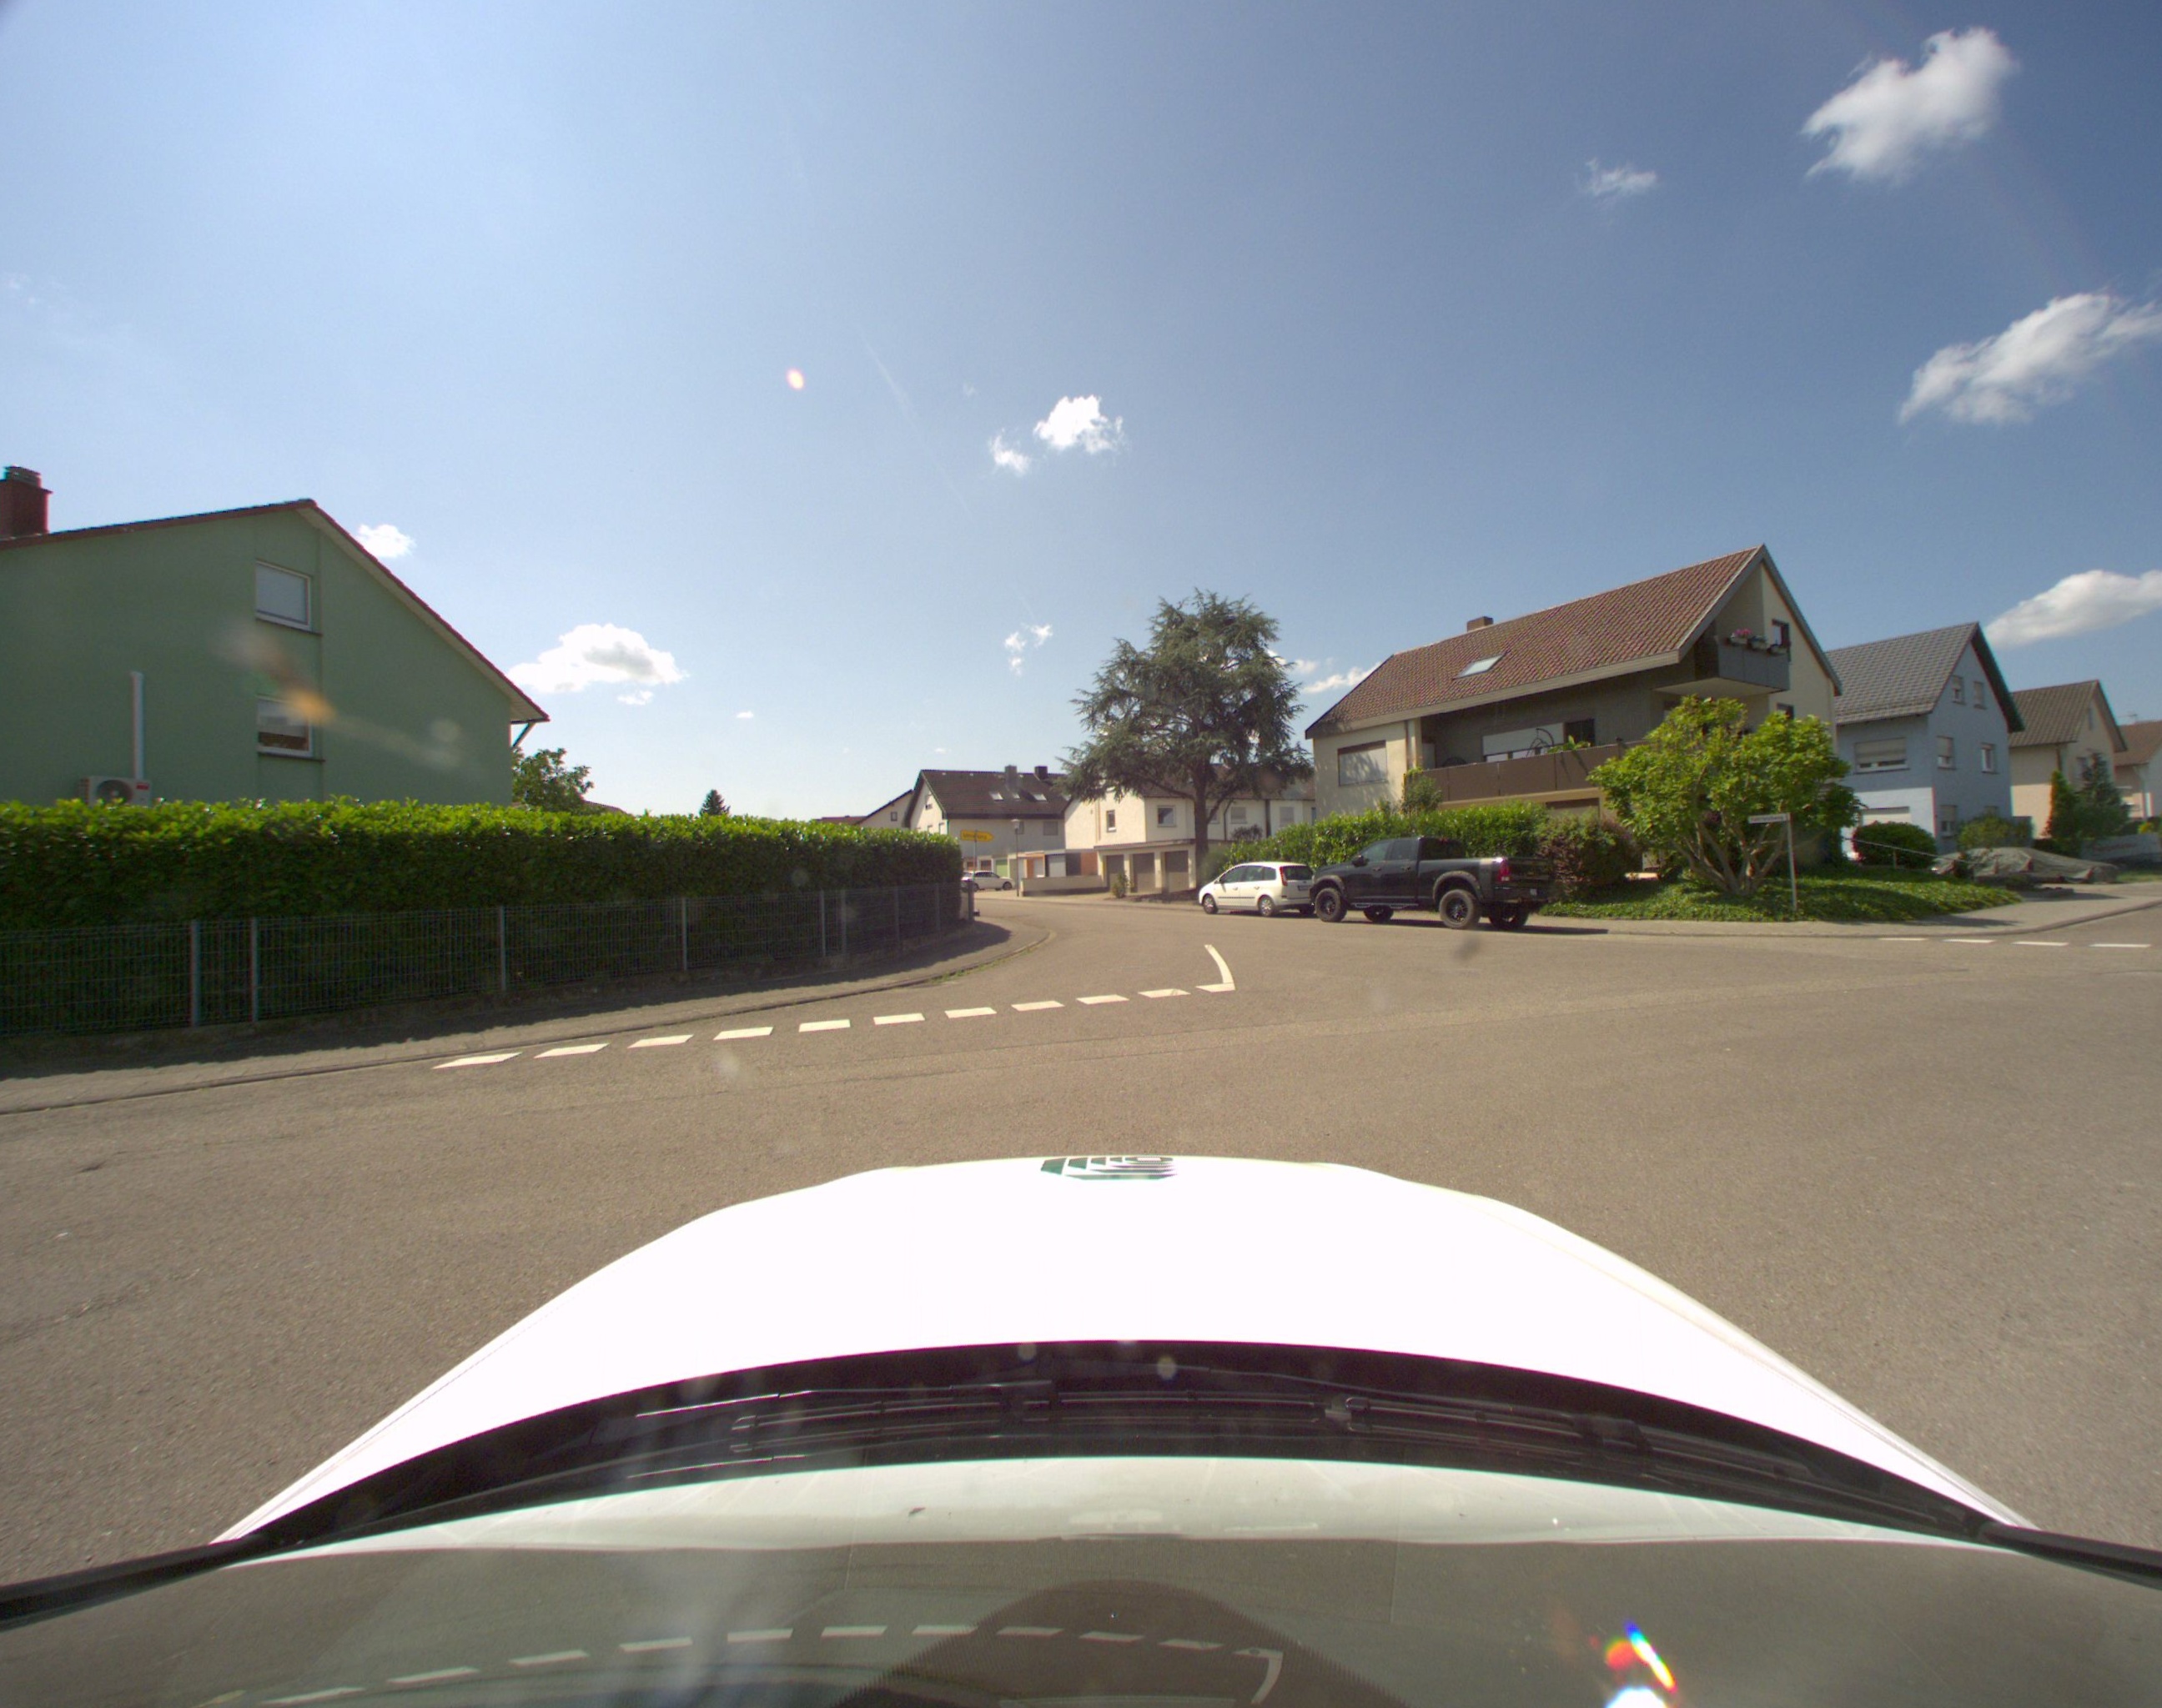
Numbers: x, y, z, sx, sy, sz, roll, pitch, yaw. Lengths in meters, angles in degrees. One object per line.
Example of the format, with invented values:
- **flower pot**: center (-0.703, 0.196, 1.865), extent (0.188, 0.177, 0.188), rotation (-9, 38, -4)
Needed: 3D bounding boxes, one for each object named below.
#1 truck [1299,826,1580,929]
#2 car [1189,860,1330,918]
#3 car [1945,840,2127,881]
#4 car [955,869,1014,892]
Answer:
- **truck**: center (8.066, 0.596, 19.040), extent (2.379, 2.014, 5.654), rotation (2, -3, -32)
- **car**: center (5.318, 1.023, 24.769), extent (1.809, 1.563, 4.102), rotation (-1, -1, -31)
- **car**: center (34.263, 0.274, 29.336), extent (2.006, 1.342, 3.960), rotation (-1, -1, -31)
- **car**: center (-6.636, 1.820, 56.186), extent (3.621, 1.408, 1.767), rotation (-1, -1, -29)
